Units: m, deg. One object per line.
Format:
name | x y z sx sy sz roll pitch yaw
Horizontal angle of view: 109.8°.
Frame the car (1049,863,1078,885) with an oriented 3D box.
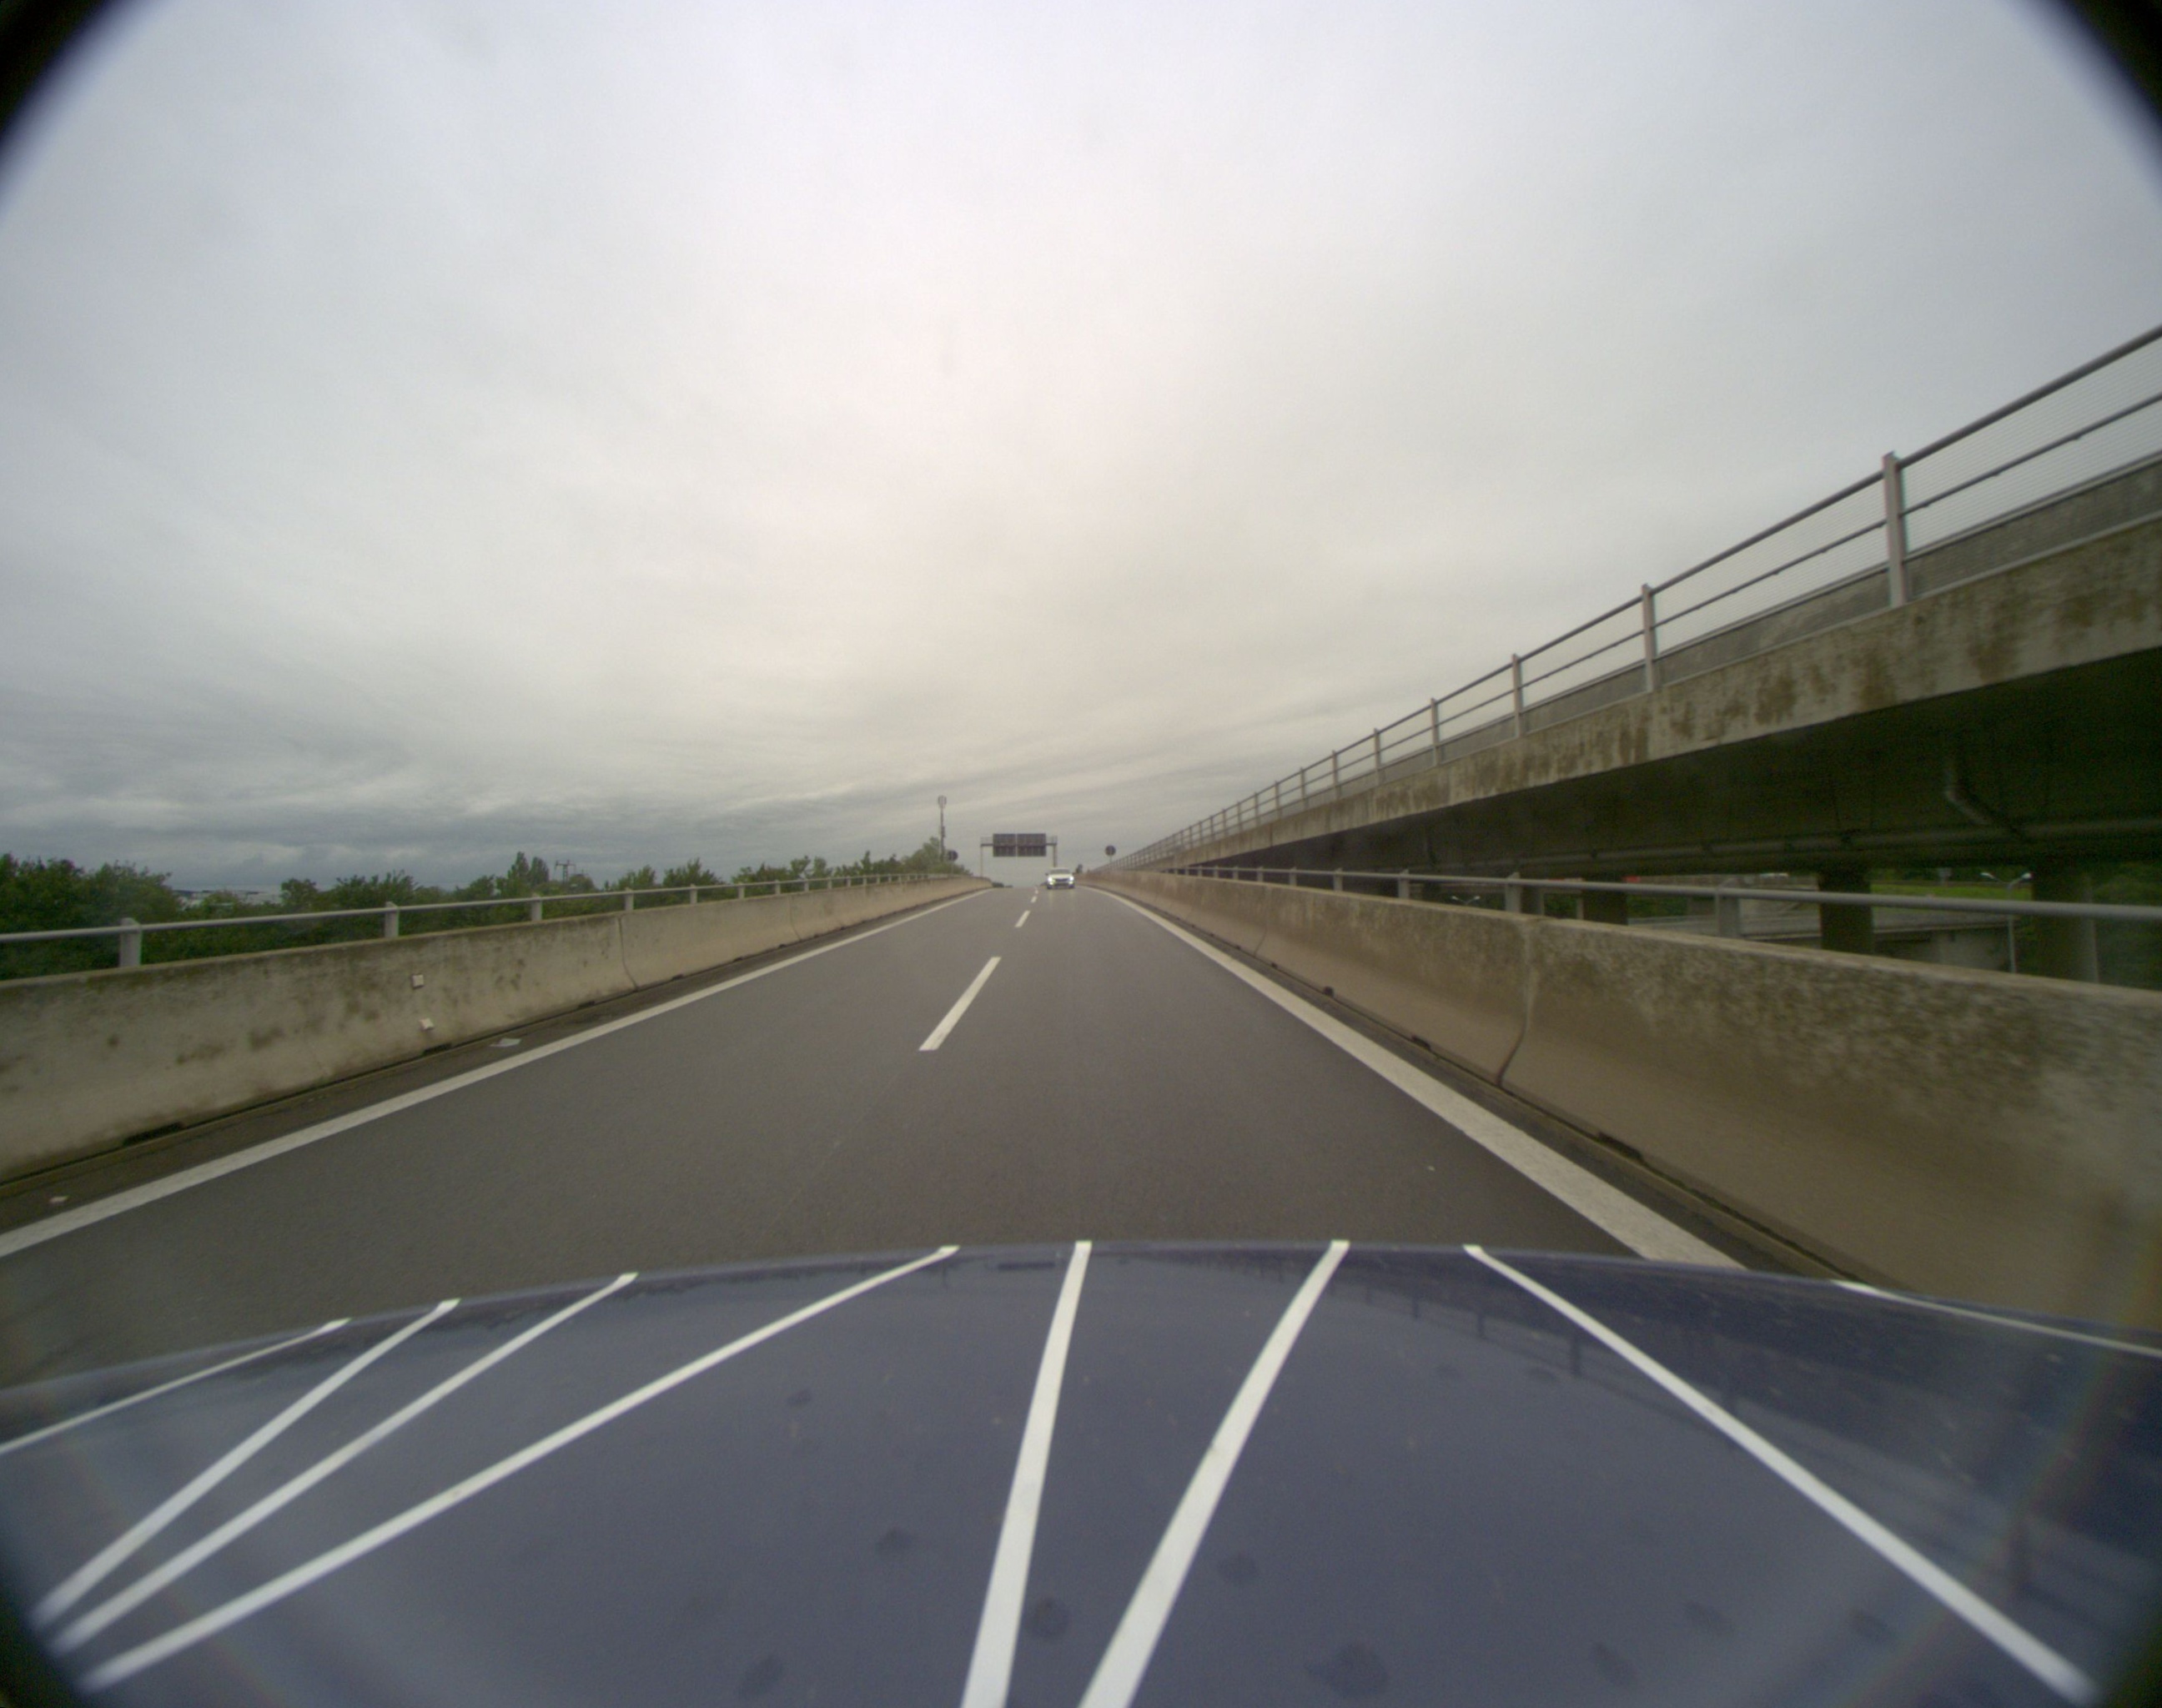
car | -1.202 1.328 51.671 1.915 1.439 4.556 0 -1 -2
